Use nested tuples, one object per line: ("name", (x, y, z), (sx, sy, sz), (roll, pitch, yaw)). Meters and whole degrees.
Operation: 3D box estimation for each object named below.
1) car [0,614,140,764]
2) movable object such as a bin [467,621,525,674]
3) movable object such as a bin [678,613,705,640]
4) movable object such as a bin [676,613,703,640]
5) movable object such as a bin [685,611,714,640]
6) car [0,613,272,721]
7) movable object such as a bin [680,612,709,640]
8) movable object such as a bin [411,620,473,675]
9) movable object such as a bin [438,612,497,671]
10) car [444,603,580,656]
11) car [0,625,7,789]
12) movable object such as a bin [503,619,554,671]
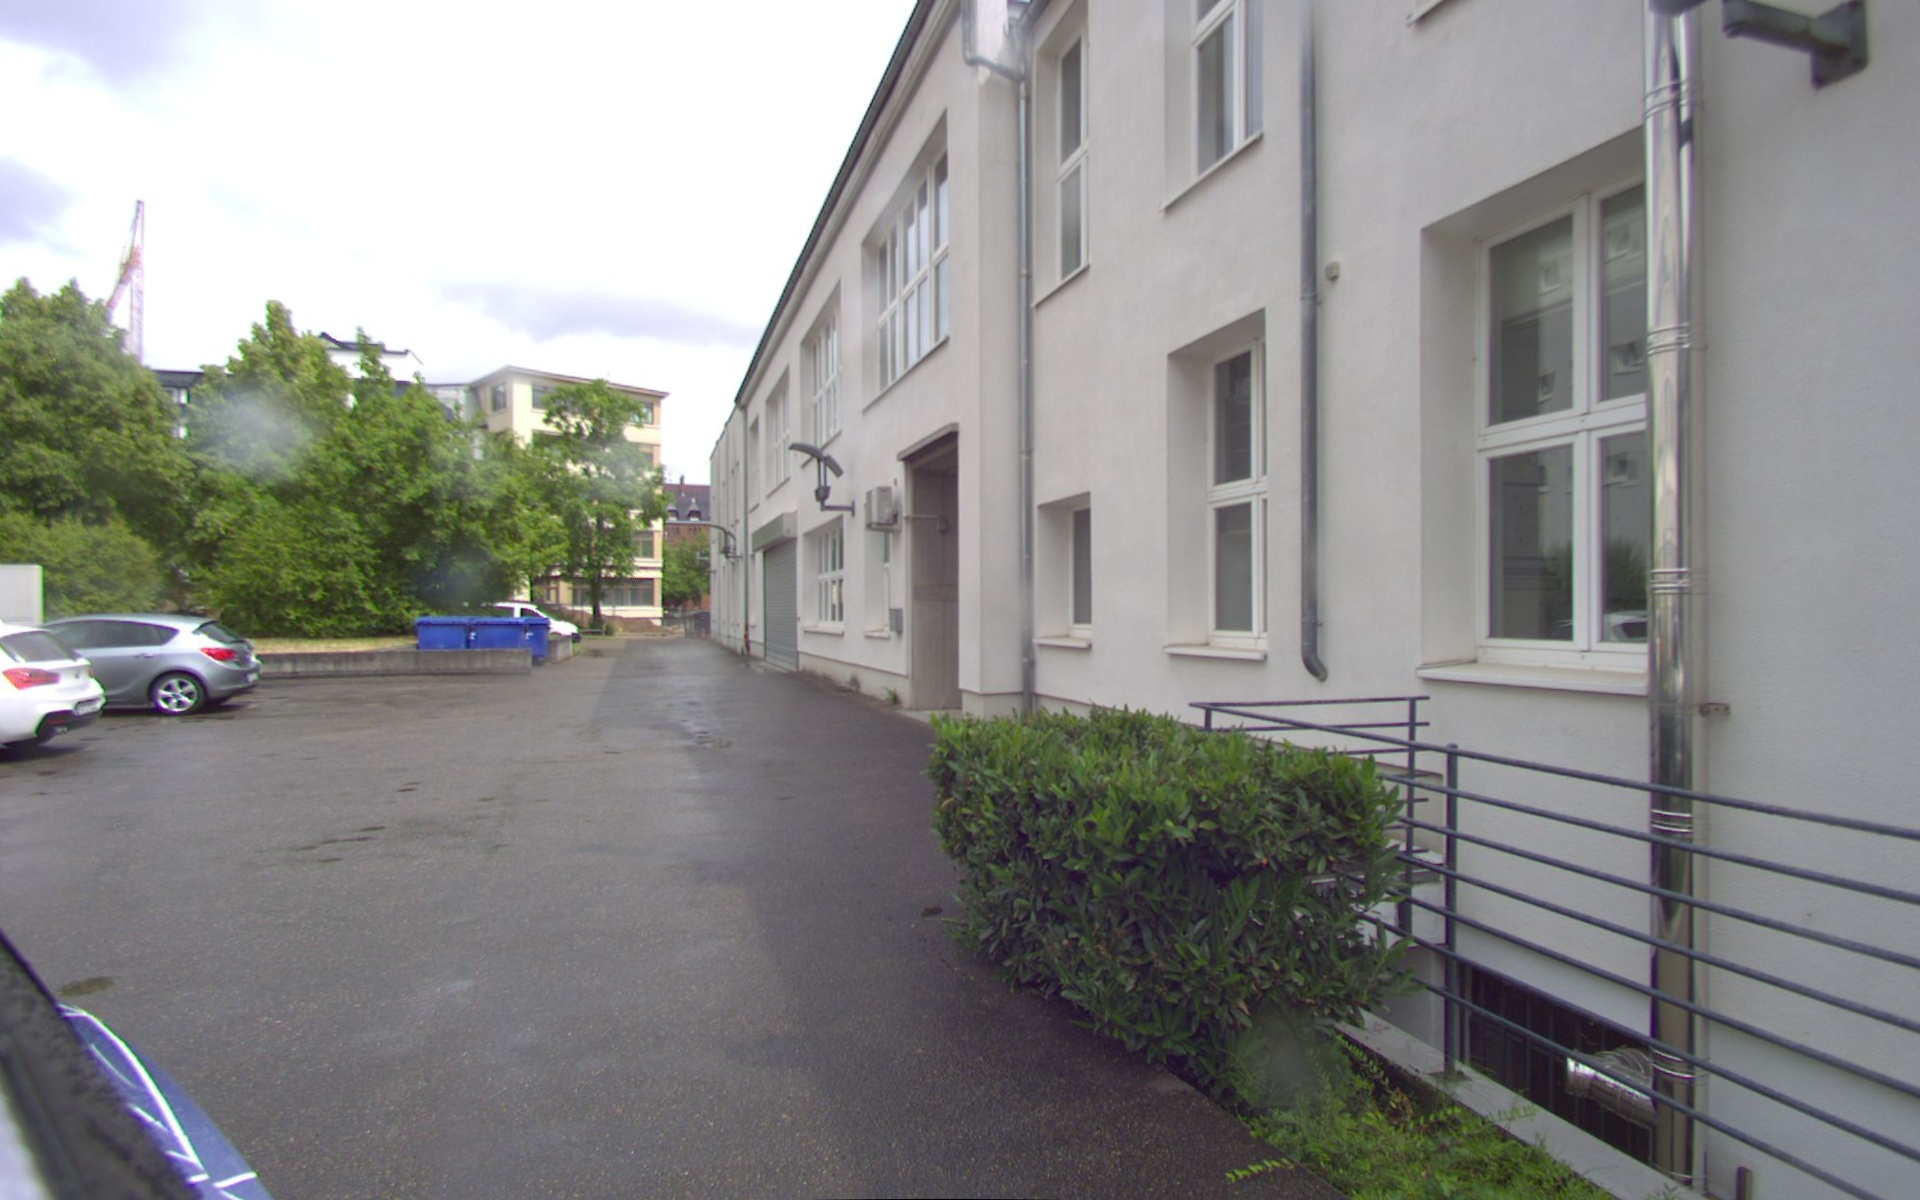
("car", (-11.154, 0.871, 10.247), (4.039, 1.466, 1.839), (1, -1, -22))
("movable object such as a bin", (-11.802, 1.199, 25.787), (1.212, 1.327, 1.059), (0, -2, -18))
("movable object such as a bin", (-15.277, 1.497, 57.543), (1.340, 1.482, 1.469), (-2, -1, -18))
("movable object such as a bin", (-15.724, 1.543, 58.824), (1.389, 1.482, 1.565), (-2, -1, -18))
("movable object such as a bin", (-13.683, 1.342, 53.073), (1.340, 1.482, 1.370), (-2, -1, -18))
("car", (-12.828, 0.944, 15.037), (4.022, 1.469, 1.674), (1, 0, -22))
("movable object such as a bin", (-14.353, 1.402, 54.669), (1.340, 1.482, 1.370), (-2, -1, -18))
("movable object such as a bin", (-12.974, 1.181, 25.393), (1.212, 1.327, 1.059), (0, -2, -18))
("movable object such as a bin", (-13.089, 1.098, 26.950), (1.257, 1.494, 1.105), (-2, -1, -19))
("car", (-18.443, 1.195, 41.880), (4.869, 2.029, 2.006), (-1, -1, -15))
("car", (-9.774, 0.894, 7.072), (4.111, 1.412, 1.946), (1, -1, -25))
("movable object such as a bin", (-11.788, 1.216, 27.677), (1.158, 1.327, 1.059), (-2, -1, -19))
